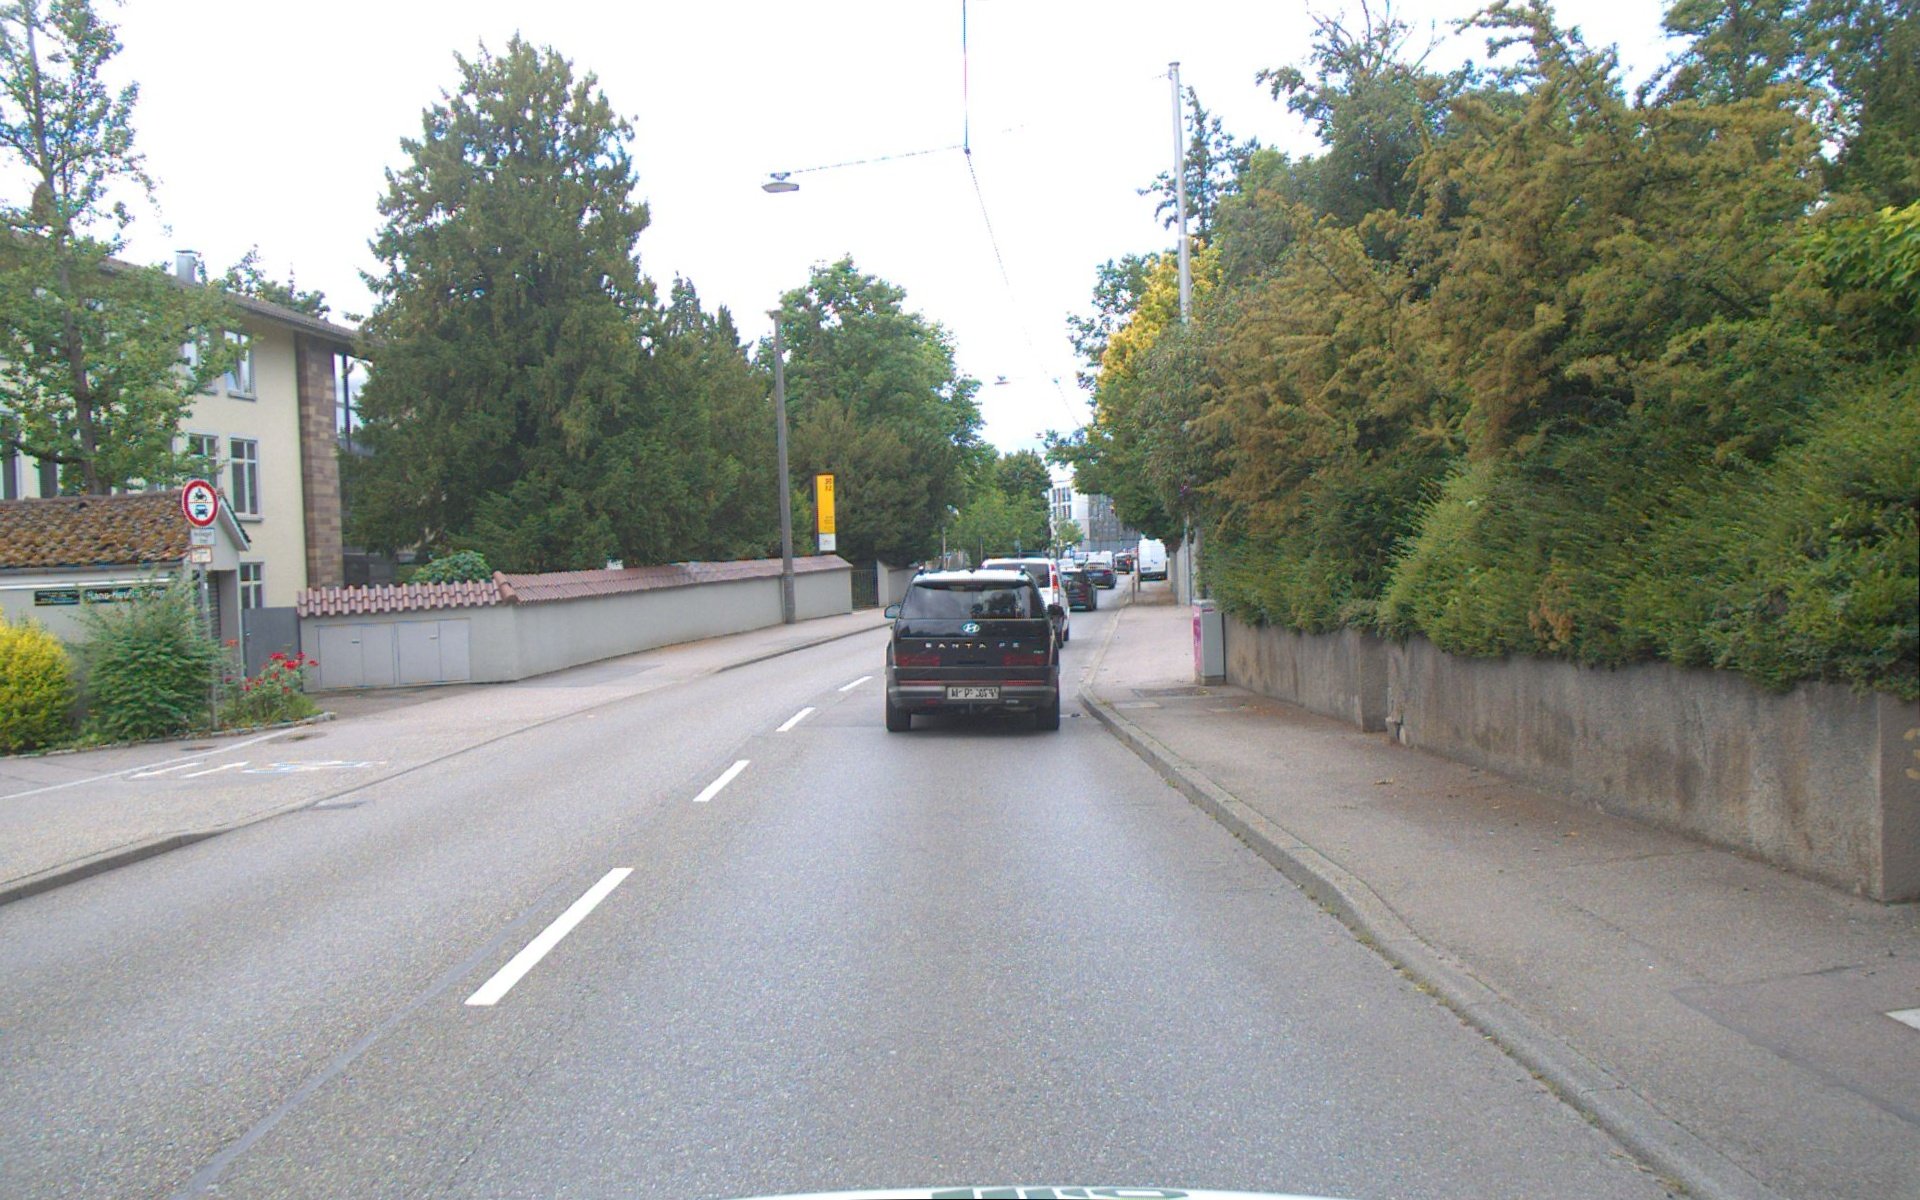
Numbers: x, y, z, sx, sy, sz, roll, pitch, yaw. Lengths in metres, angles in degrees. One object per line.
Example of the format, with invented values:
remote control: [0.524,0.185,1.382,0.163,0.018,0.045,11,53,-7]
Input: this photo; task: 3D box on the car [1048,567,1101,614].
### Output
car: [4.056,-0.370,58.172,1.640,1.447,3.941,-2,2,6]

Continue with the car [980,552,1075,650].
car: [1.534,-0.046,36.349,1.916,1.989,4.226,1,2,4]

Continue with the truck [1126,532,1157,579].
truck: [14.190,-3.491,128.866,2.232,3.498,5.982,-2,2,7]

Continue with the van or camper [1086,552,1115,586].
van or camper: [8.878,-1.968,104.266,1.640,2.042,3.941,-2,2,7]

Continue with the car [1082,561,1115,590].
car: [7.621,-1.343,90.731,1.640,1.447,3.941,-2,2,6]

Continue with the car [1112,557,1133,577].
car: [13.772,-2.818,139.990,1.640,1.568,3.941,-2,2,7]

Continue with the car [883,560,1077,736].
car: [0.167,0.463,18.647,1.917,1.743,4.222,1,0,-1]

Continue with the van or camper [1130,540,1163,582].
van or camper: [12.345,-2.587,109.238,2.000,2.622,5.254,-2,2,7]
